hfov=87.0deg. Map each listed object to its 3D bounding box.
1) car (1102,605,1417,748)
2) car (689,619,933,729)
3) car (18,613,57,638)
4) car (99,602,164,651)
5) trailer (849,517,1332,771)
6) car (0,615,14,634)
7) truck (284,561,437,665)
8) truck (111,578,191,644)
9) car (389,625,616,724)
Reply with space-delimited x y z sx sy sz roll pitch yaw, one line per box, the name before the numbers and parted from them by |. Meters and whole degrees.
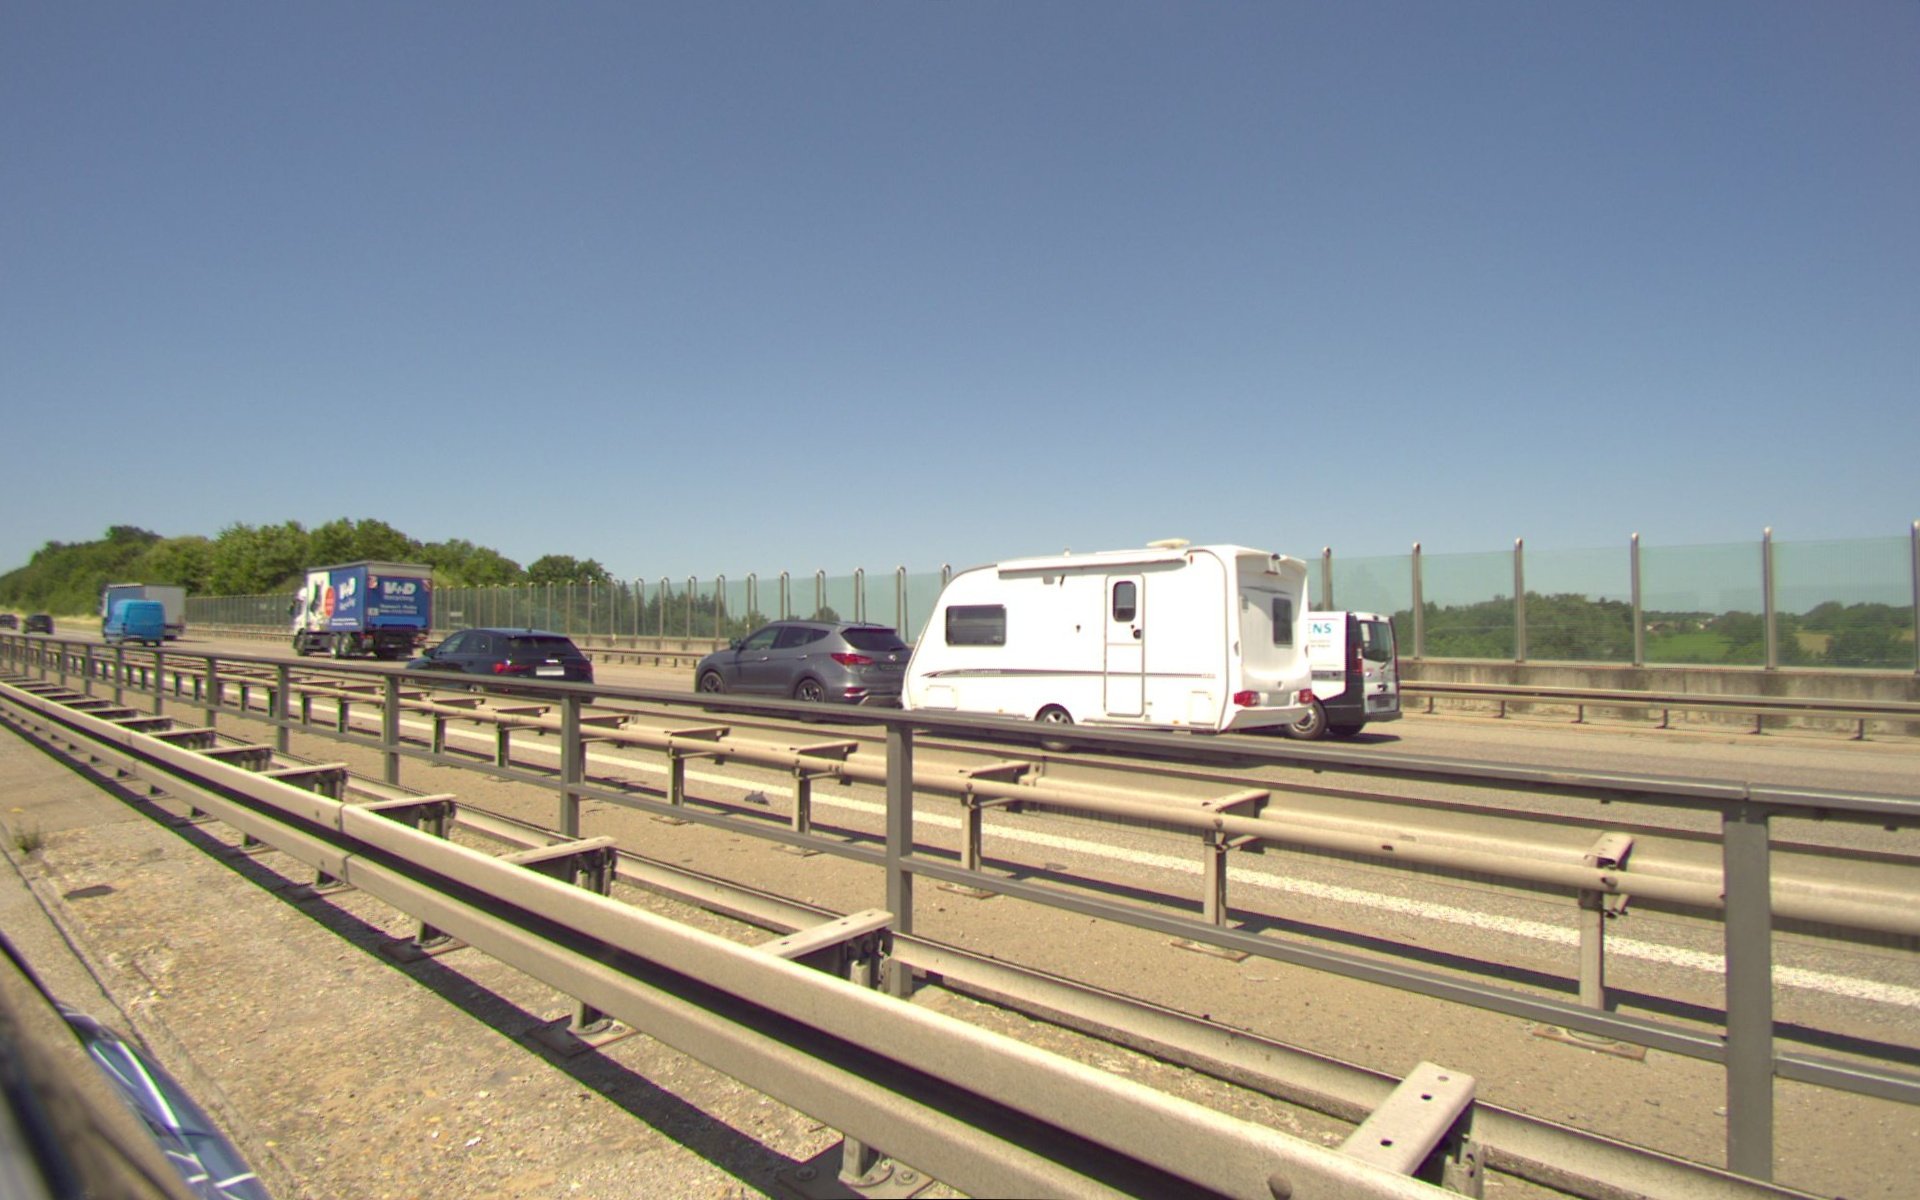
car | 4.768 1.165 16.465 4.487 1.999 2.013 -1 -4 41
car | -2.648 1.196 17.390 4.266 1.654 1.783 -1 -4 41
car | -80.175 2.201 87.900 4.238 2.086 1.961 -1 -3 41
car | -46.812 1.507 57.145 5.035 2.610 1.961 -1 -3 41
trailer | 1.510 0.588 13.839 6.358 2.727 2.292 -1 -4 41
car | -104.715 2.670 110.283 4.238 2.086 1.961 -1 -3 41
truck | -26.581 0.644 44.606 9.987 4.117 2.838 -1 -4 42
truck | -59.784 0.853 74.692 9.987 4.575 2.838 -1 -4 42
car | -7.513 1.148 16.473 3.998 1.405 1.829 -1 -4 41
